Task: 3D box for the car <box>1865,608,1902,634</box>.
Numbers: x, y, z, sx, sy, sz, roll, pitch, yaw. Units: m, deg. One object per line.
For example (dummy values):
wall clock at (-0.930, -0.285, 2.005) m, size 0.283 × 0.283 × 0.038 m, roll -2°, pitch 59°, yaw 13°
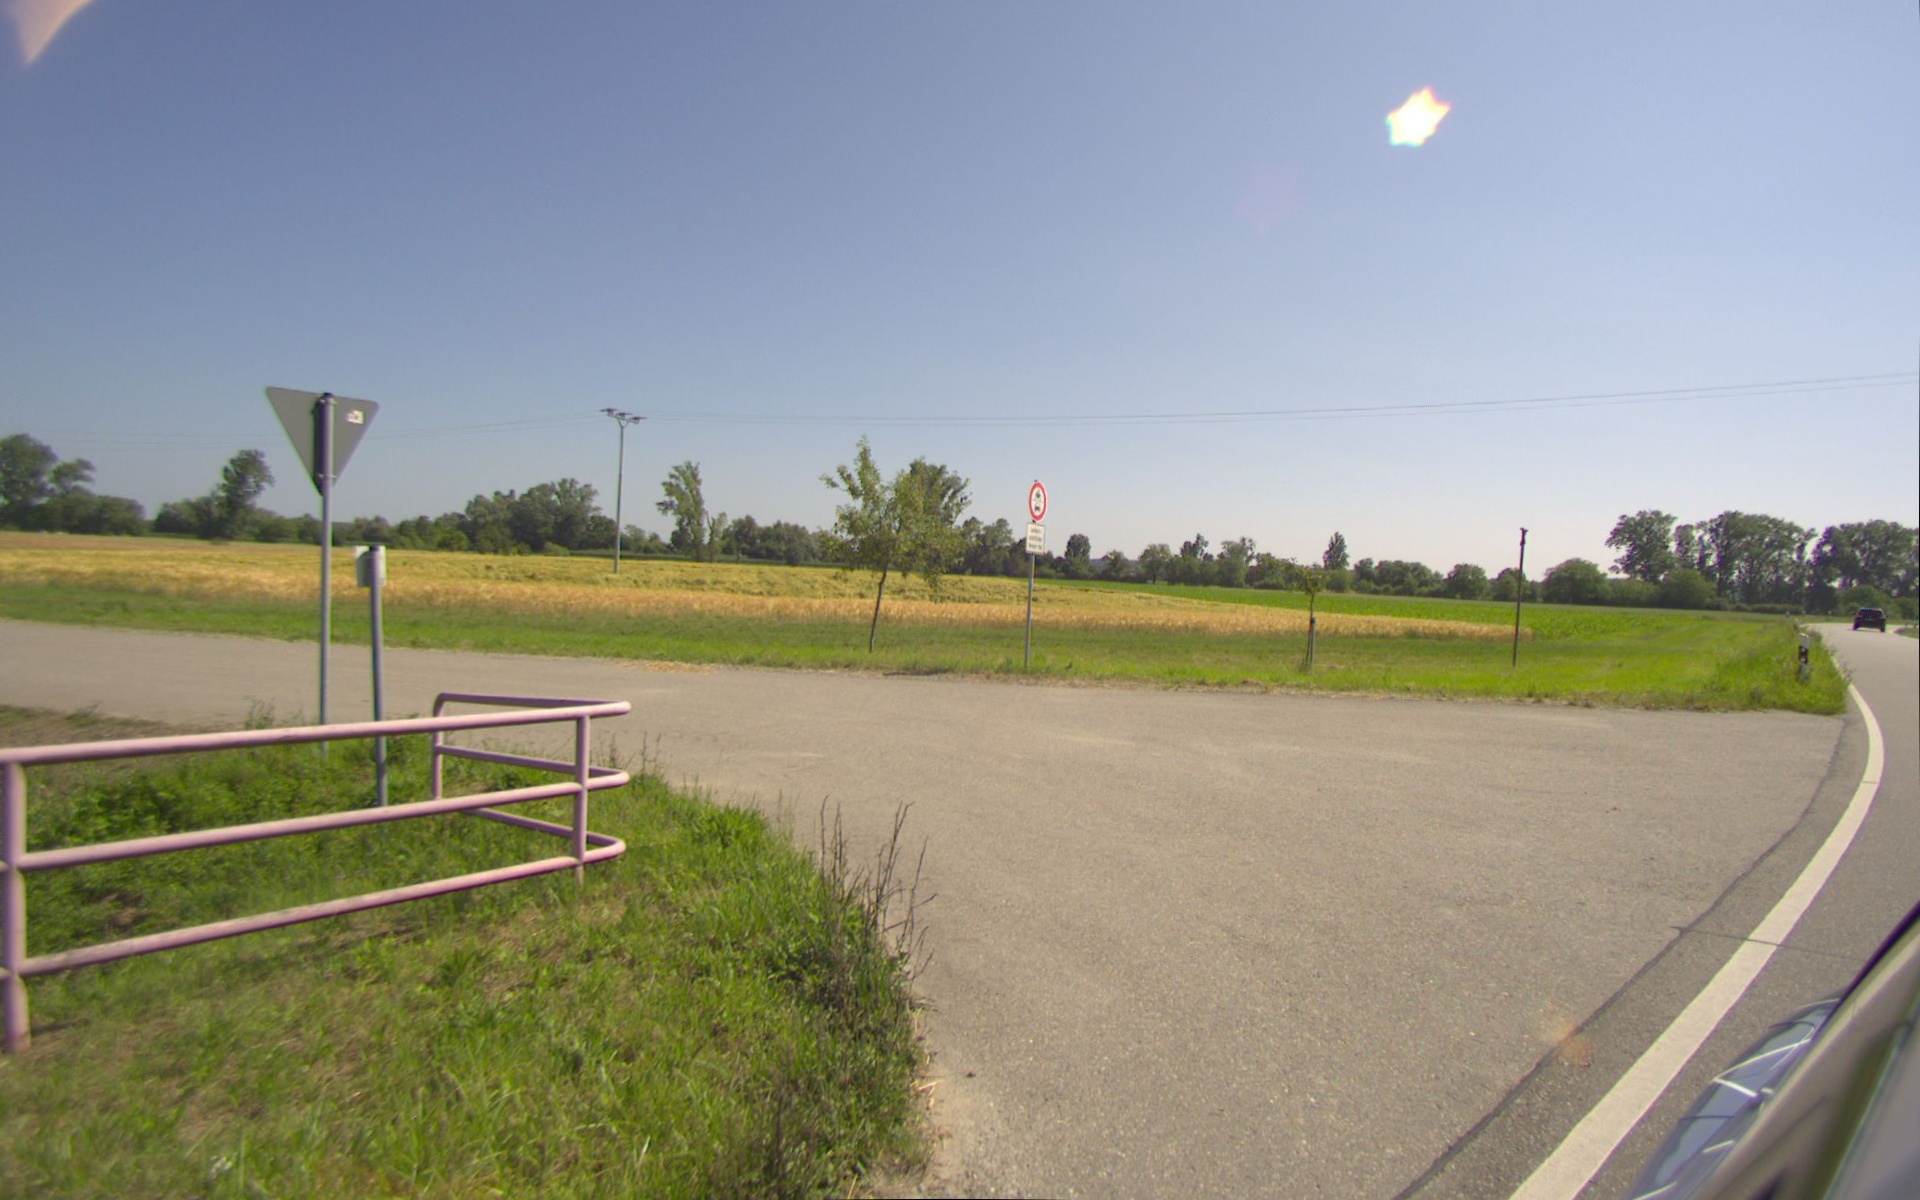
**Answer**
car at (70.498, 1.555, 77.212) m, size 1.867 × 1.774 × 4.228 m, roll 5°, pitch 3°, yaw 44°
